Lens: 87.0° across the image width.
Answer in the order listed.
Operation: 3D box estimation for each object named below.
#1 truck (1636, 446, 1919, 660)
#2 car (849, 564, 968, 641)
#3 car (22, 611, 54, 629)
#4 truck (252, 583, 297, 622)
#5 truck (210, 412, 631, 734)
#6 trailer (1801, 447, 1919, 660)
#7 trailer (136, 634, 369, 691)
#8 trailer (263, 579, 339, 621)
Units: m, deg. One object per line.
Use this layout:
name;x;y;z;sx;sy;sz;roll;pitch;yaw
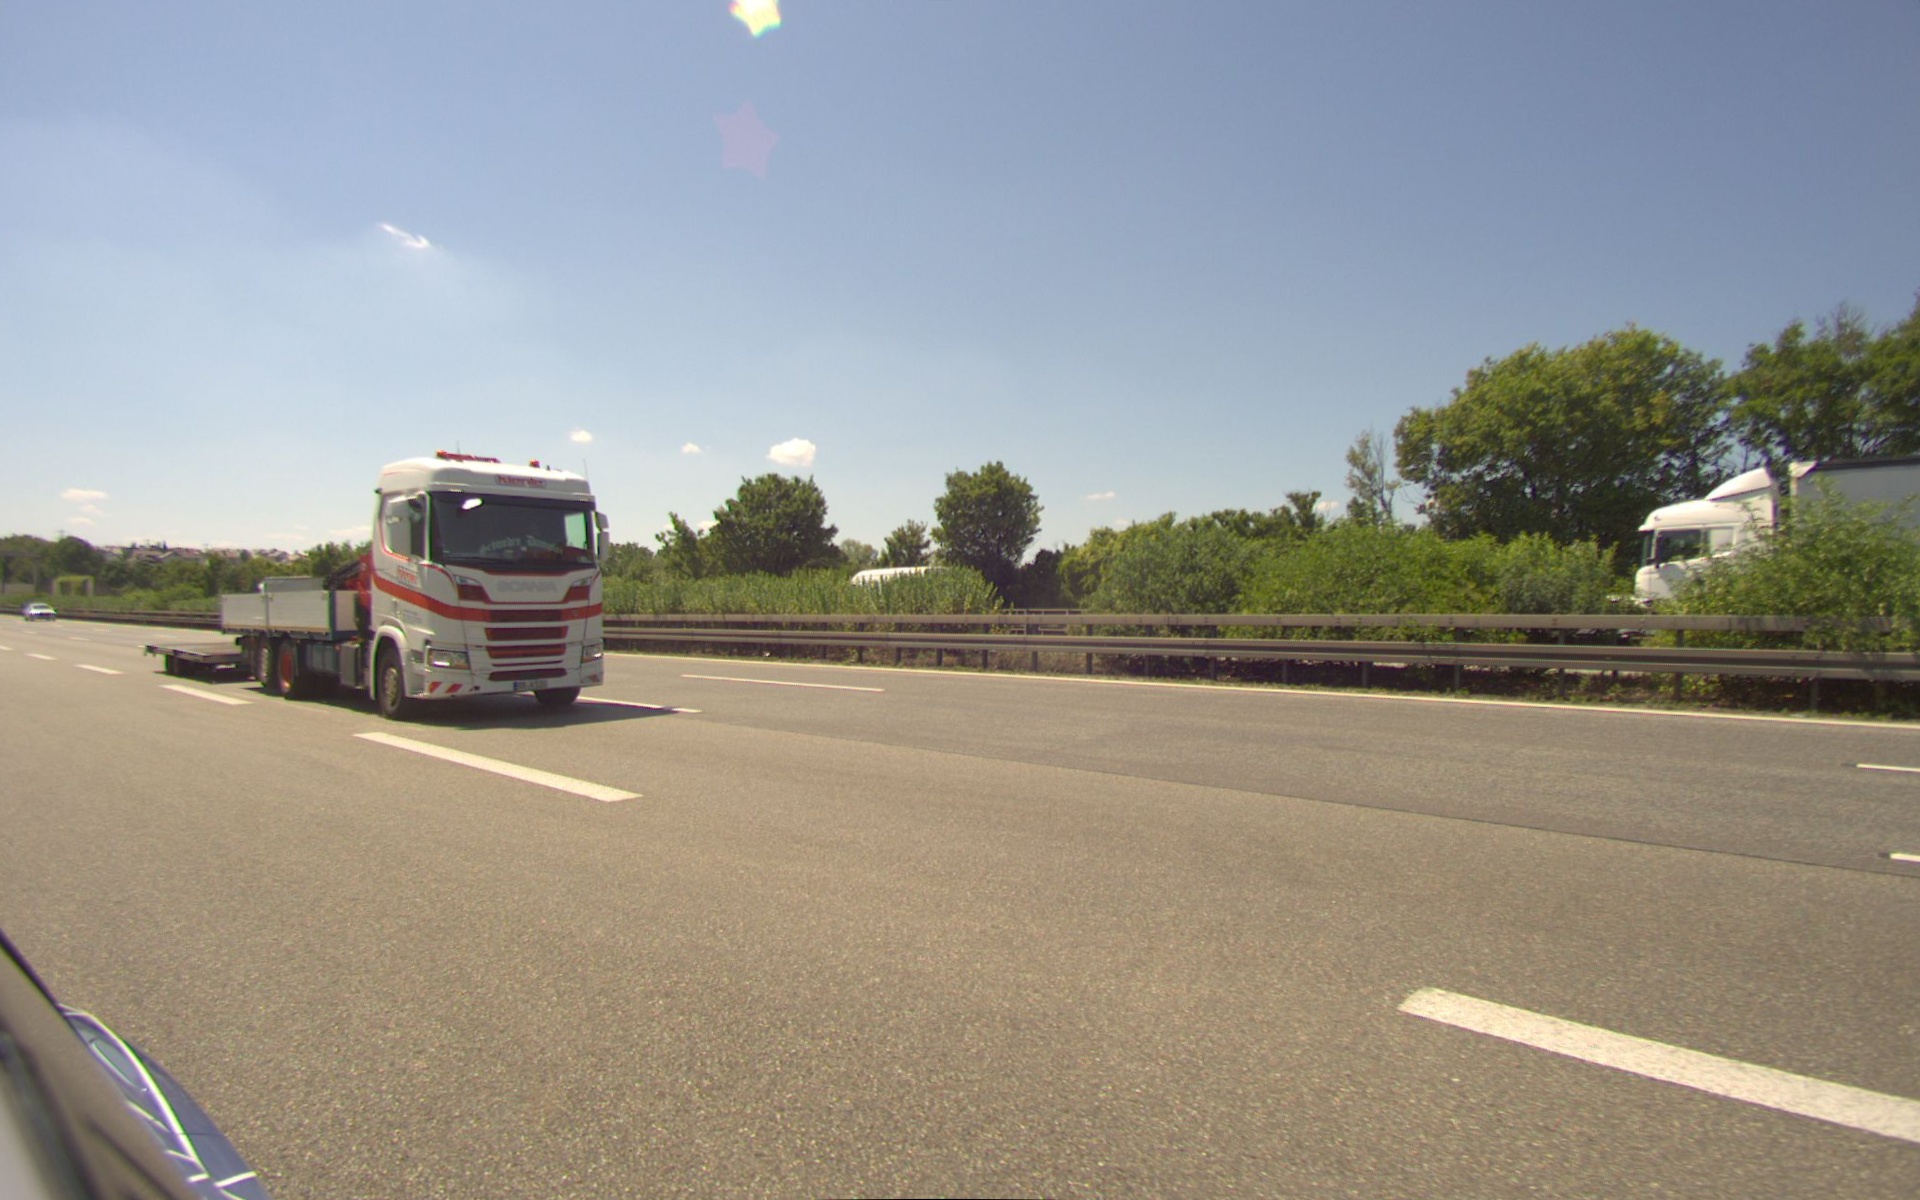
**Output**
truck;18.095;-0.874;22.237;4.829;4.121;3.296;-2;-1;44
car;-1.928;0.119;37.065;4.316;2.666;1.821;-1;0;42
car;-85.700;1.826;94.030;3.999;1.564;1.858;-2;-1;42
truck;-71.909;0.235;106.132;5.161;3.977;2.513;-1;-1;39
truck;-9.422;-0.250;16.657;10.670;3.831;2.685;-1;-1;42
trailer;23.452;-1.009;17.137;13.929;4.121;3.354;-2;-1;44
trailer;-16.145;1.313;22.840;7.758;0.941;2.685;-1;0;42
trailer;-65.984;0.121;101.146;13.709;3.977;2.512;-1;-1;40
